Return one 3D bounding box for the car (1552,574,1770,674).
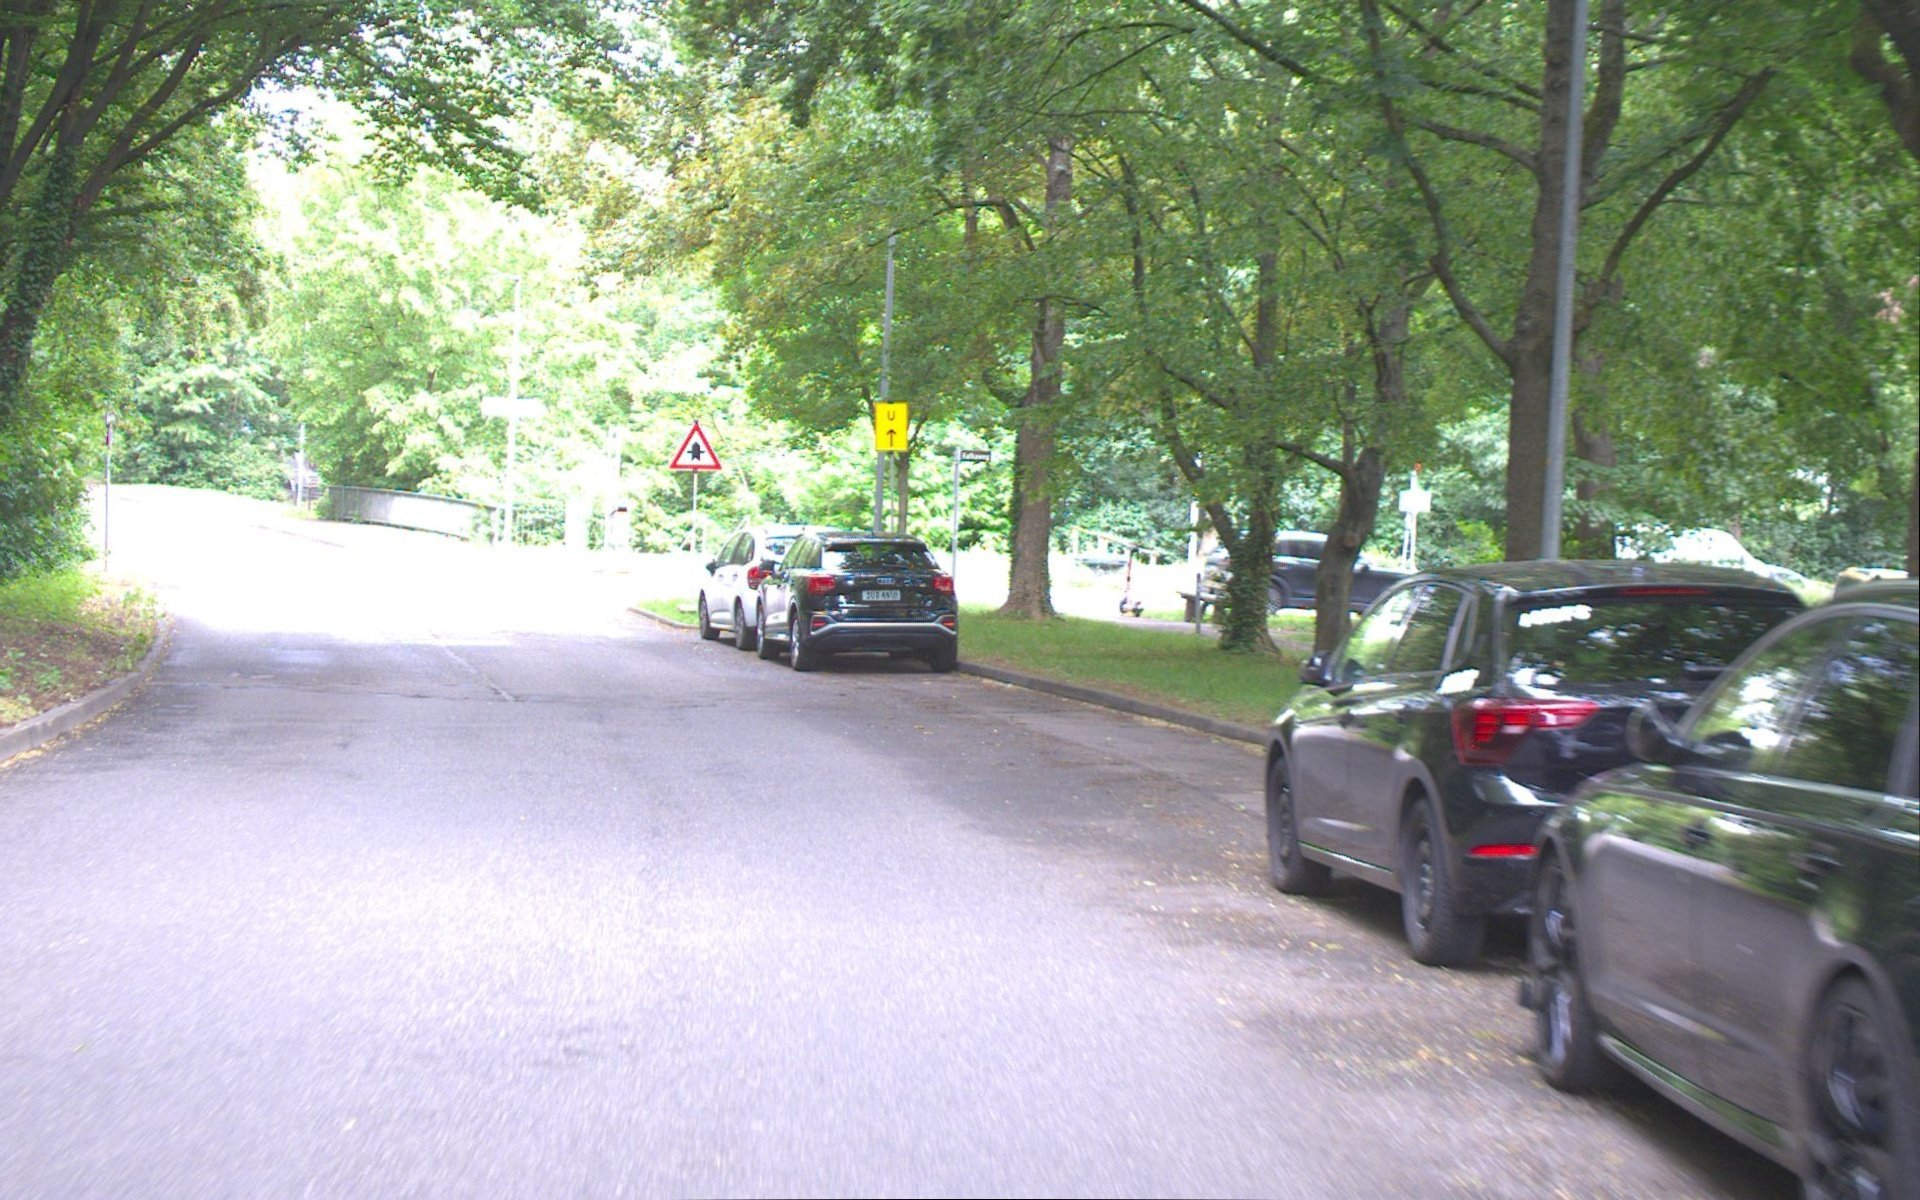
[{"bbox_3d":[12.710,0.423,62.505,3.516,1.564,1.832,3,2,0],"label":"car"}]

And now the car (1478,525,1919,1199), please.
[{"bbox_3d":[2.537,0.684,7.747,1.913,1.606,4.735,2,2,-1],"label":"car"}]

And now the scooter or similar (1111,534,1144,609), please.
[{"bbox_3d":[2.955,-0.507,60.633,0.283,1.282,1.108,2,2,-10],"label":"scooter or similar"}]

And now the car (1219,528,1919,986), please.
[{"bbox_3d":[2.227,0.495,13.522,1.682,1.459,3.899,2,2,-6],"label":"car"}]

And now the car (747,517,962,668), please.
[{"bbox_3d":[-1.248,-0.127,38.683,1.773,1.517,4.185,2,2,-10],"label":"car"}]

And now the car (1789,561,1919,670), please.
[{"bbox_3d":[17.618,0.331,62.792,4.396,1.842,1.833,3,2,-3],"label":"car"}]

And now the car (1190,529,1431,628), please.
[{"bbox_3d":[6.599,-0.415,65.048,4.221,1.680,1.799,2,1,-4],"label":"car"}]

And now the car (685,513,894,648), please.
[{"bbox_3d":[-2.181,-0.274,43.001,1.773,1.517,3.782,2,2,-16],"label":"car"}]

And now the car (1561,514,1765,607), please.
[{"bbox_3d":[16.565,-0.940,81.094,4.205,2.006,2.001,2,1,-7],"label":"car"}]
